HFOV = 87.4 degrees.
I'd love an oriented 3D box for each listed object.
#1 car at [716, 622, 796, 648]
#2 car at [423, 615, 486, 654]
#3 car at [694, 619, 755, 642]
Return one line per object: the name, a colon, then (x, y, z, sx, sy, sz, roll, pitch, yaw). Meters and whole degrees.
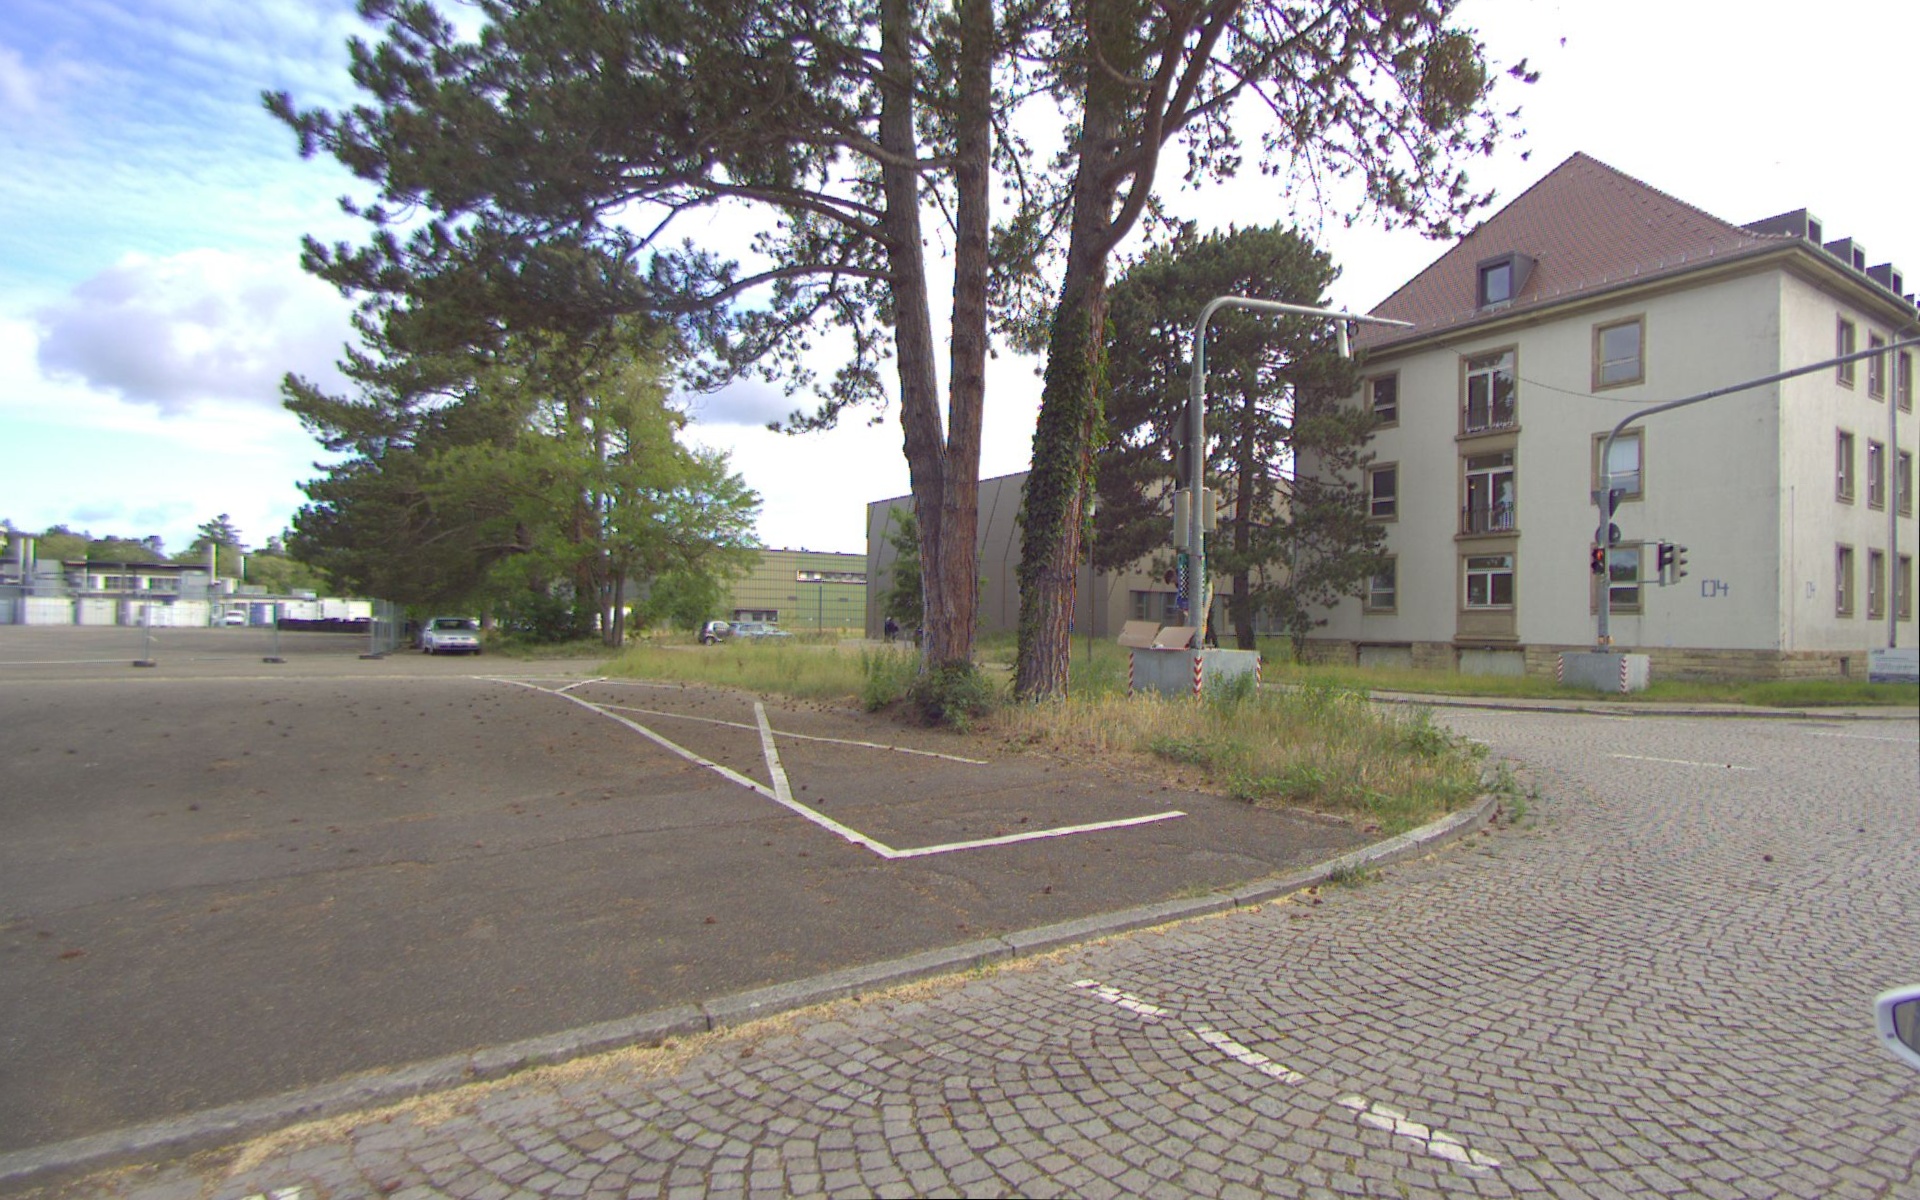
car: (-12.409, 2.100, 61.258, 4.409, 1.449, 1.983, 0, 0, -32)
car: (-19.602, 1.317, 38.891, 1.680, 1.410, 3.962, 2, -1, -34)
car: (-15.889, 2.063, 67.810, 3.618, 1.449, 1.983, 0, 0, -32)
